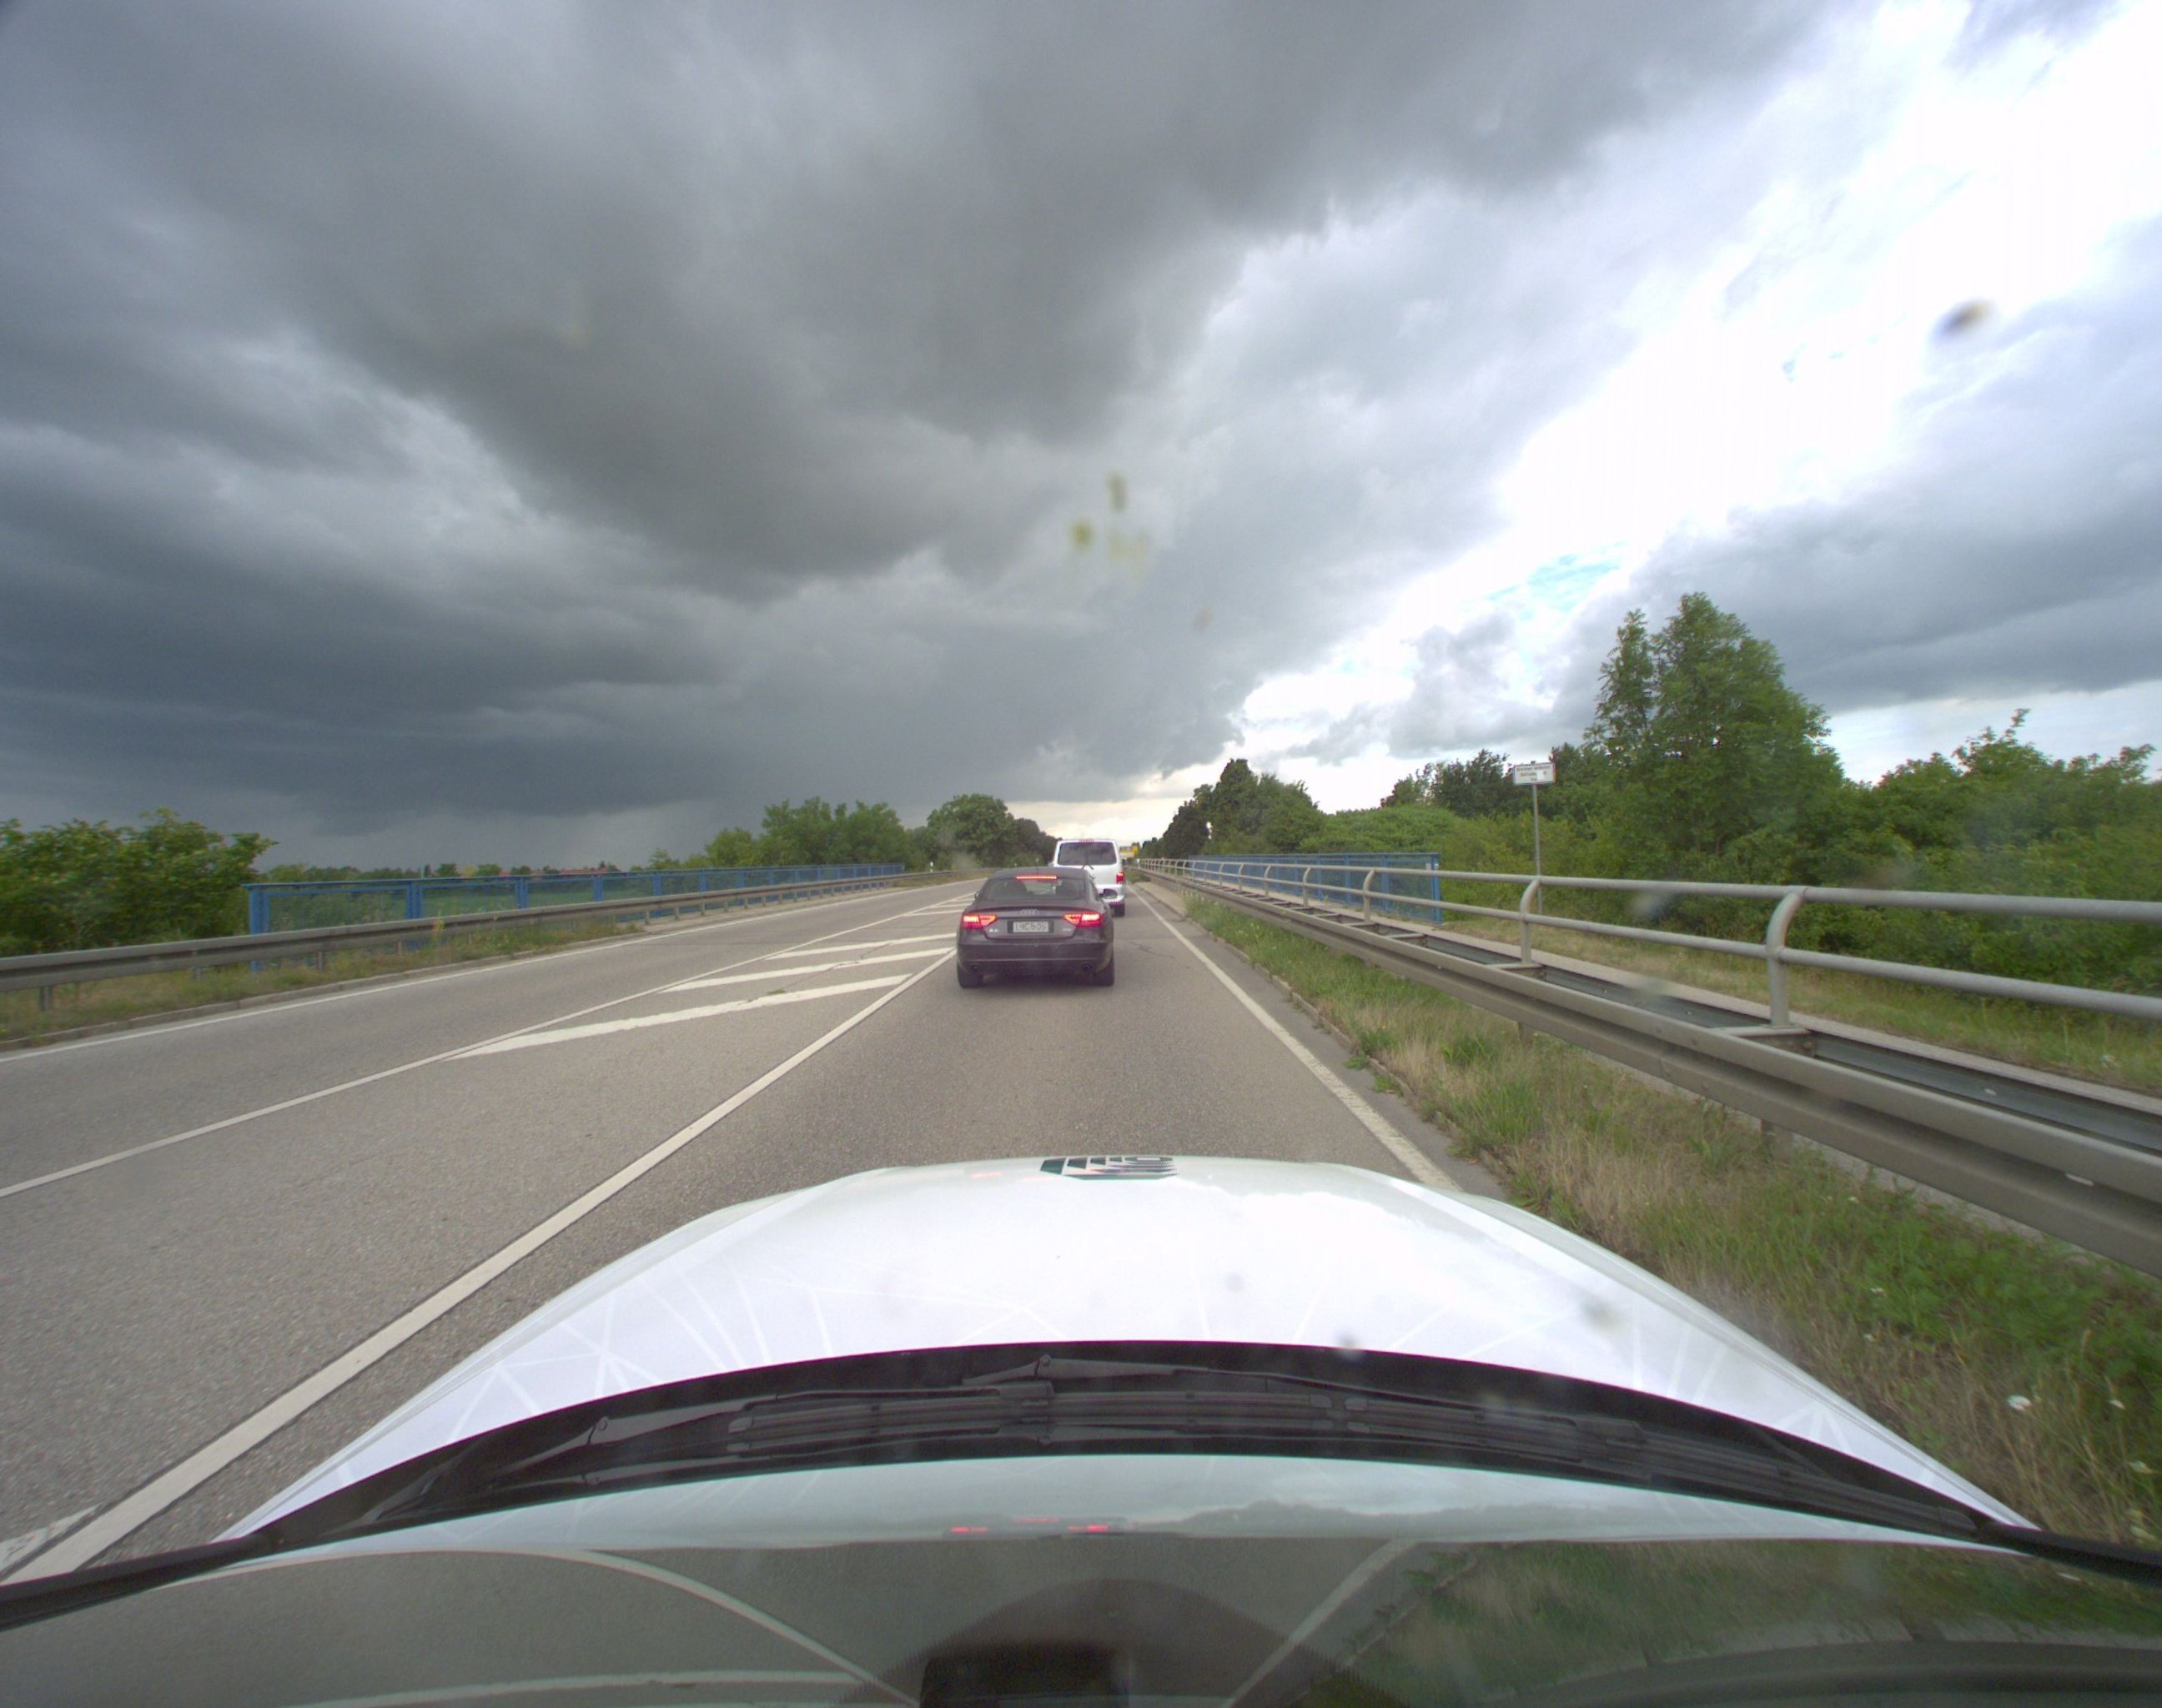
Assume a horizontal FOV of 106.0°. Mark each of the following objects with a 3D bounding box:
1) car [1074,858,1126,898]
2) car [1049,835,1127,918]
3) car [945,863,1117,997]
[{"bbox_3d":[0.751,0.863,31.063,1.814,1.381,4.074,-1,0,2],"label":"car"},{"bbox_3d":[0.217,0.553,21.579,1.822,1.935,4.001,-2,-1,1],"label":"car"},{"bbox_3d":[-0.449,0.828,10.639,1.814,1.381,4.074,-1,0,2],"label":"car"}]
